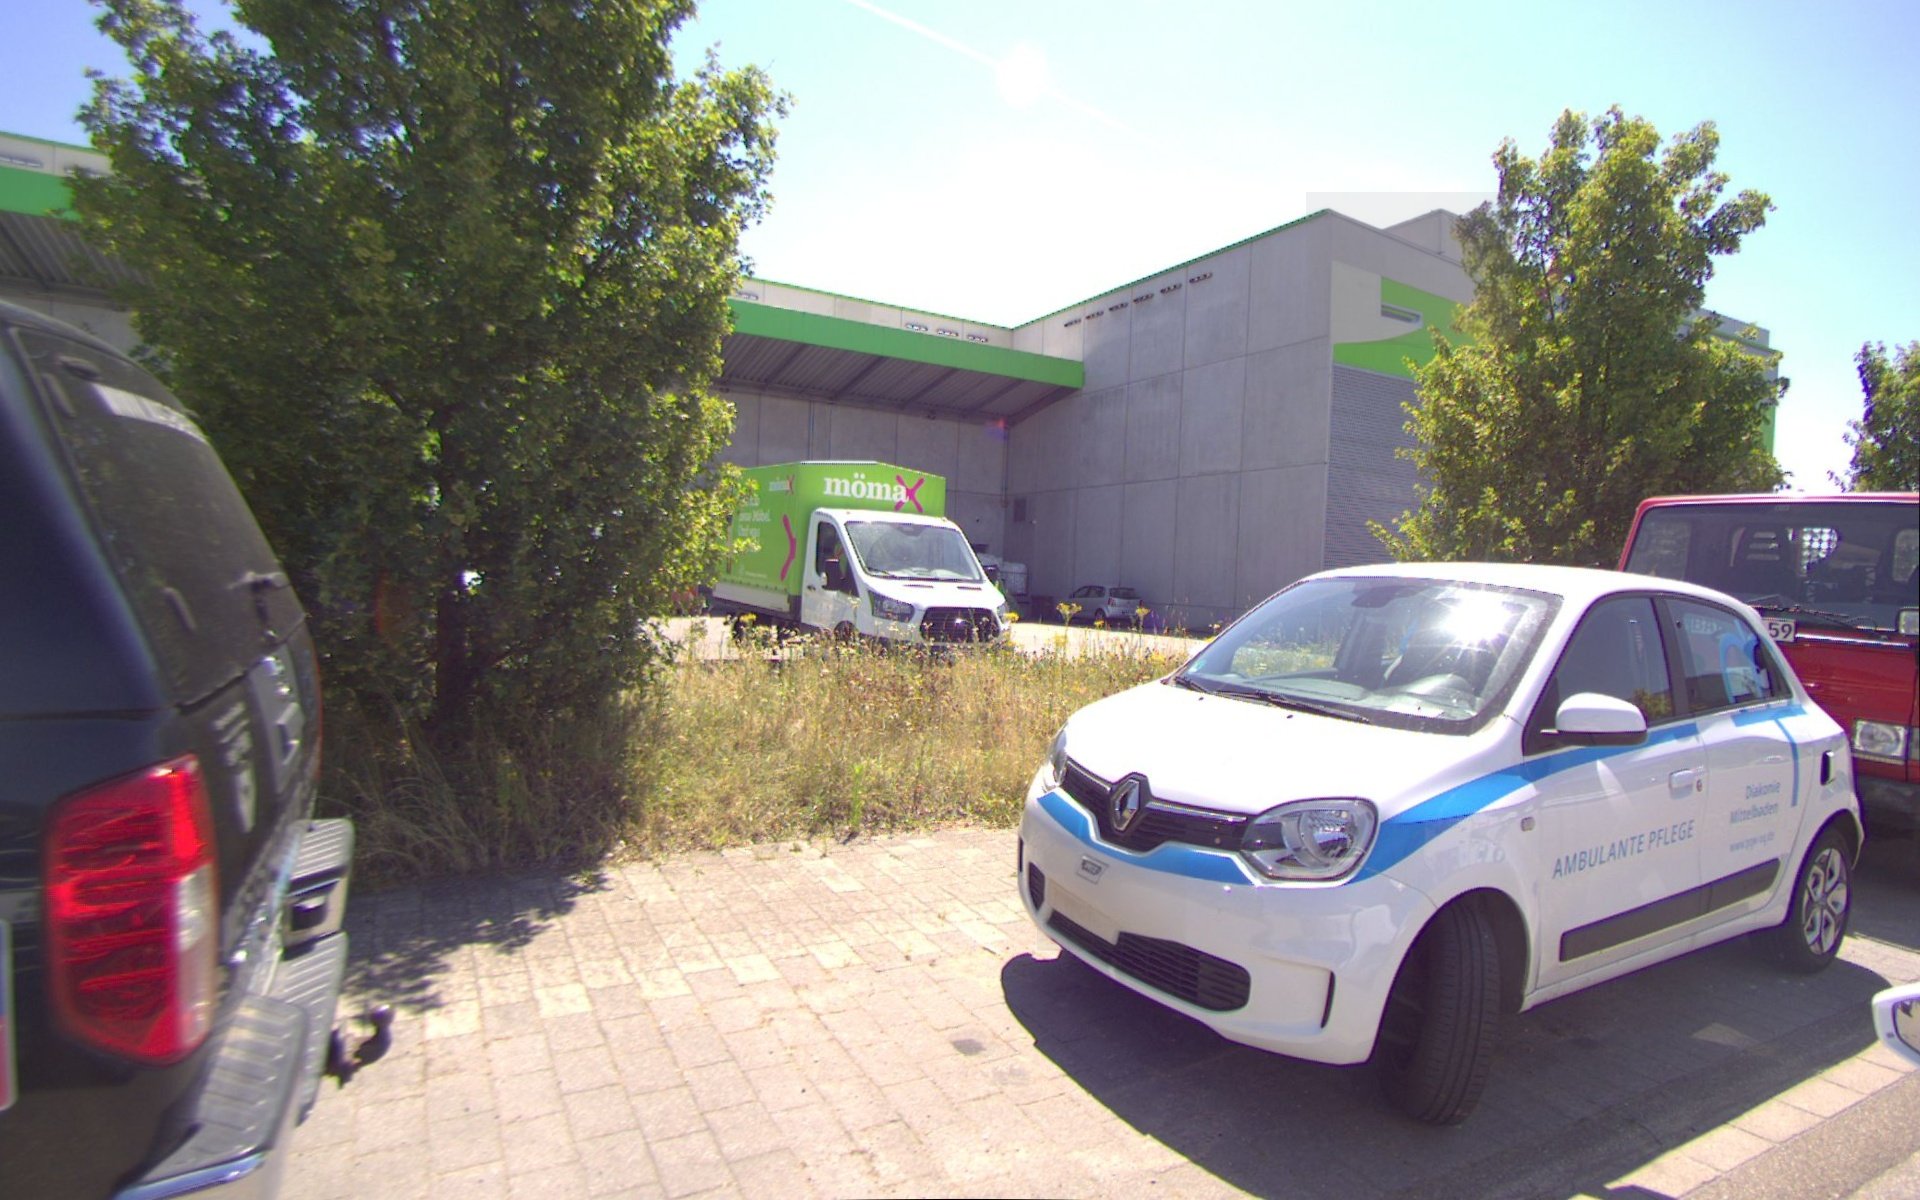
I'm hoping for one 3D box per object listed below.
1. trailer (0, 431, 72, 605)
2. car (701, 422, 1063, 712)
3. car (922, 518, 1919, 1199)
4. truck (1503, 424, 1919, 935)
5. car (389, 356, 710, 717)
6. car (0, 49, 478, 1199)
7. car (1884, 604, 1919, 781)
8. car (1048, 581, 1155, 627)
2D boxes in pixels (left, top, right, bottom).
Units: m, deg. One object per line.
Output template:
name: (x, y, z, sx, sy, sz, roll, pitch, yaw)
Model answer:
trailer: (-23.365, -1.943, 21.460, 3.180, 4.142, 15.253, 1, 1, -29)
car: (-1.407, -0.448, 13.491, 2.491, 2.965, 5.945, 1, 2, -29)
car: (1.942, 0.587, 4.041, 3.725, 1.572, 1.841, 2, 3, -32)
truck: (5.743, 0.353, 6.351, 4.592, 2.252, 1.842, 2, 3, -31)
car: (-4.871, -0.613, 11.186, 2.491, 2.862, 5.945, 1, 2, -29)
car: (-3.457, 0.252, 0.879, 5.338, 1.926, 1.964, 2, 3, -30)
car: (10.407, 0.882, 8.909, 4.697, 1.463, 1.842, 2, 3, -30)
car: (4.999, 0.116, 35.846, 1.836, 1.467, 3.736, 2, 1, -30)
